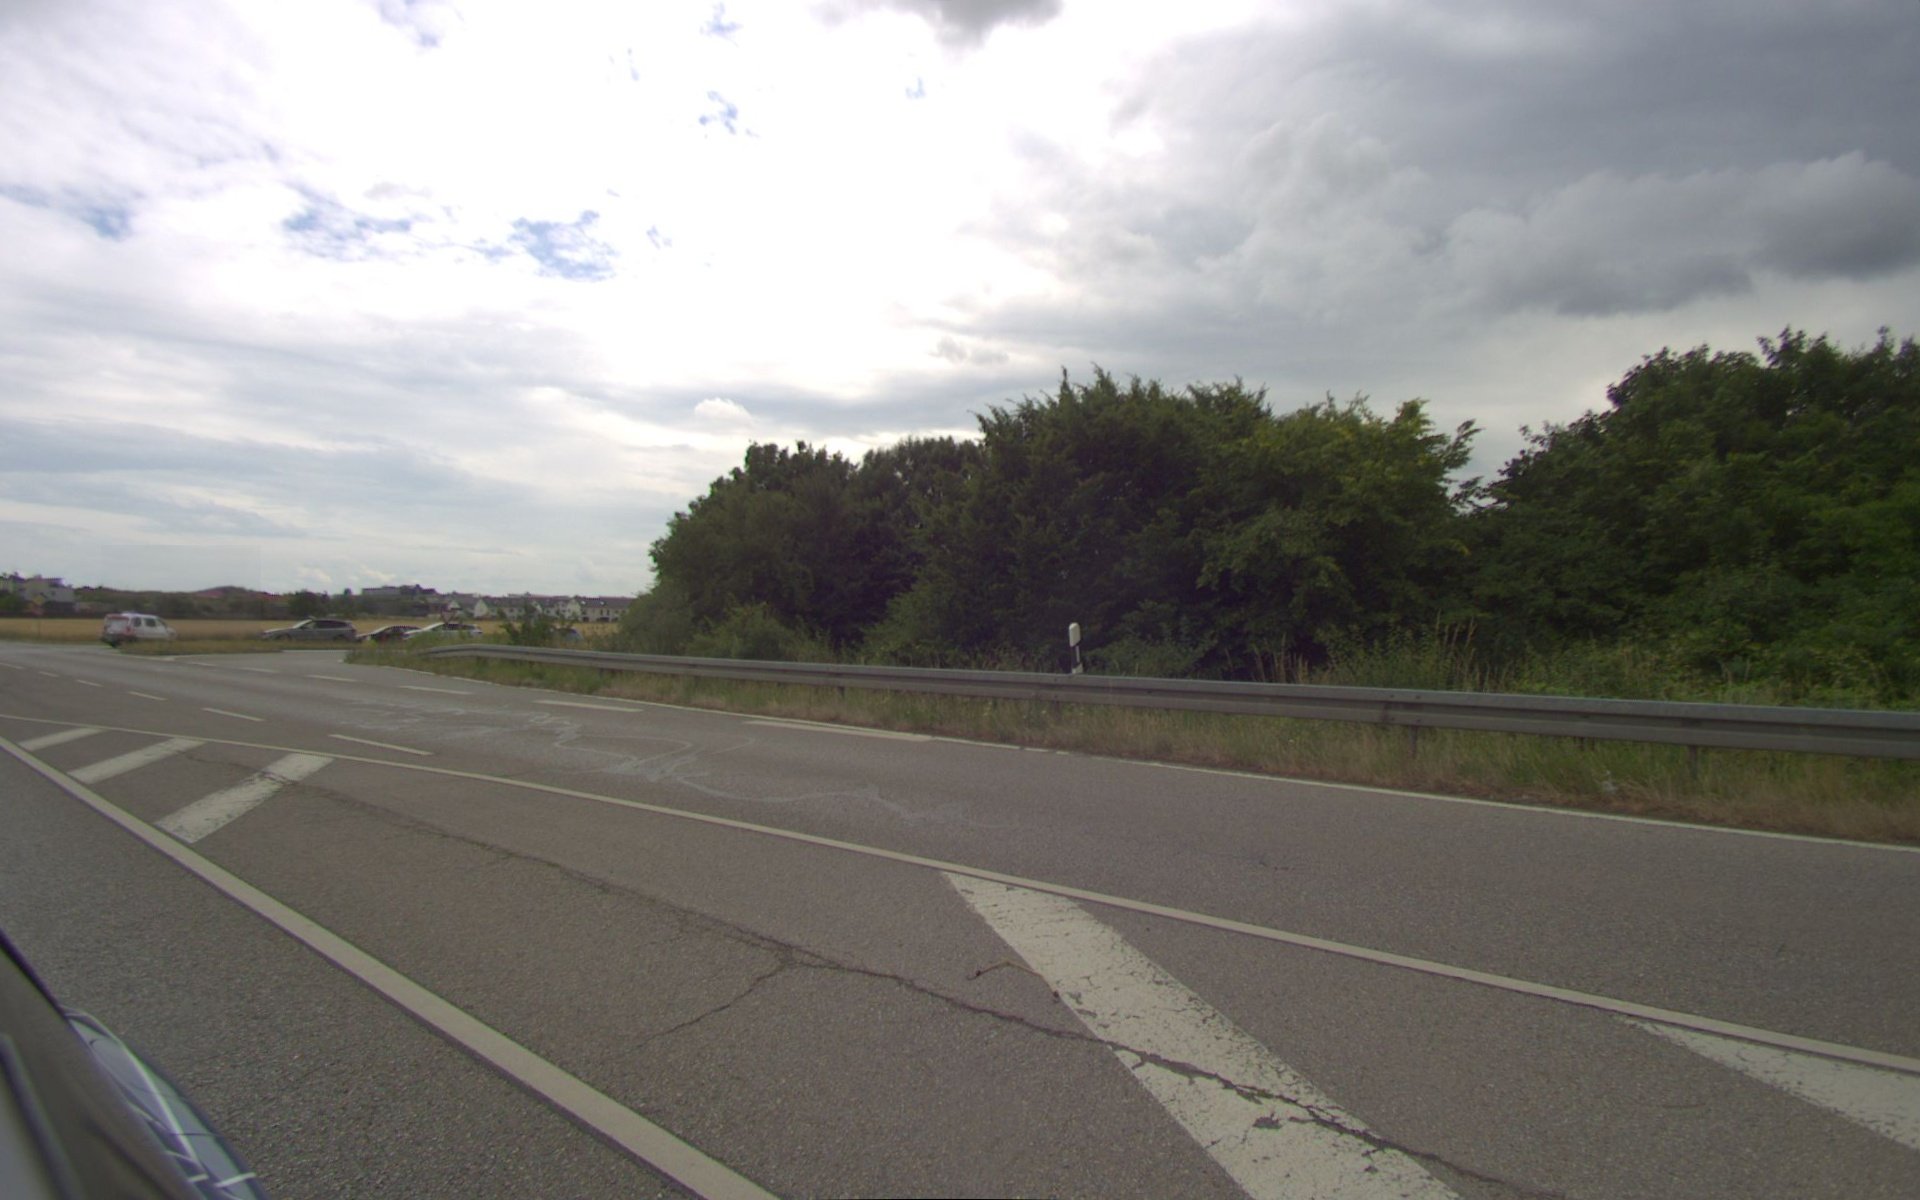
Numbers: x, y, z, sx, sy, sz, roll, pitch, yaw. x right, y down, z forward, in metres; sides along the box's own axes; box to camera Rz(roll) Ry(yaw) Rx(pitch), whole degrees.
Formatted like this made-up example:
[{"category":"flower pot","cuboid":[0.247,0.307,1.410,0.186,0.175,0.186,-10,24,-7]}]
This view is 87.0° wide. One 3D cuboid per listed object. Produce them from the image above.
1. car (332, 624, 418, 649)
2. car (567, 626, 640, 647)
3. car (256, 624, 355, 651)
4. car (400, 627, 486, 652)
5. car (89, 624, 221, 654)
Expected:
[{"category":"car","cuboid":[-36.838,2.280,63.808,4.345,1.493,1.913,2,-2,-43]},{"category":"car","cuboid":[-25.239,2.580,71.716,4.437,1.493,1.913,2,-2,-43]},{"category":"car","cuboid":[-38.317,2.176,59.301,4.568,1.528,1.913,2,-2,-43]},{"category":"car","cuboid":[-32.592,2.465,63.858,4.437,1.493,1.913,2,-2,-43]},{"category":"car","cuboid":[-43.082,2.076,54.272,1.909,1.533,5.233,-1,-2,39]}]
